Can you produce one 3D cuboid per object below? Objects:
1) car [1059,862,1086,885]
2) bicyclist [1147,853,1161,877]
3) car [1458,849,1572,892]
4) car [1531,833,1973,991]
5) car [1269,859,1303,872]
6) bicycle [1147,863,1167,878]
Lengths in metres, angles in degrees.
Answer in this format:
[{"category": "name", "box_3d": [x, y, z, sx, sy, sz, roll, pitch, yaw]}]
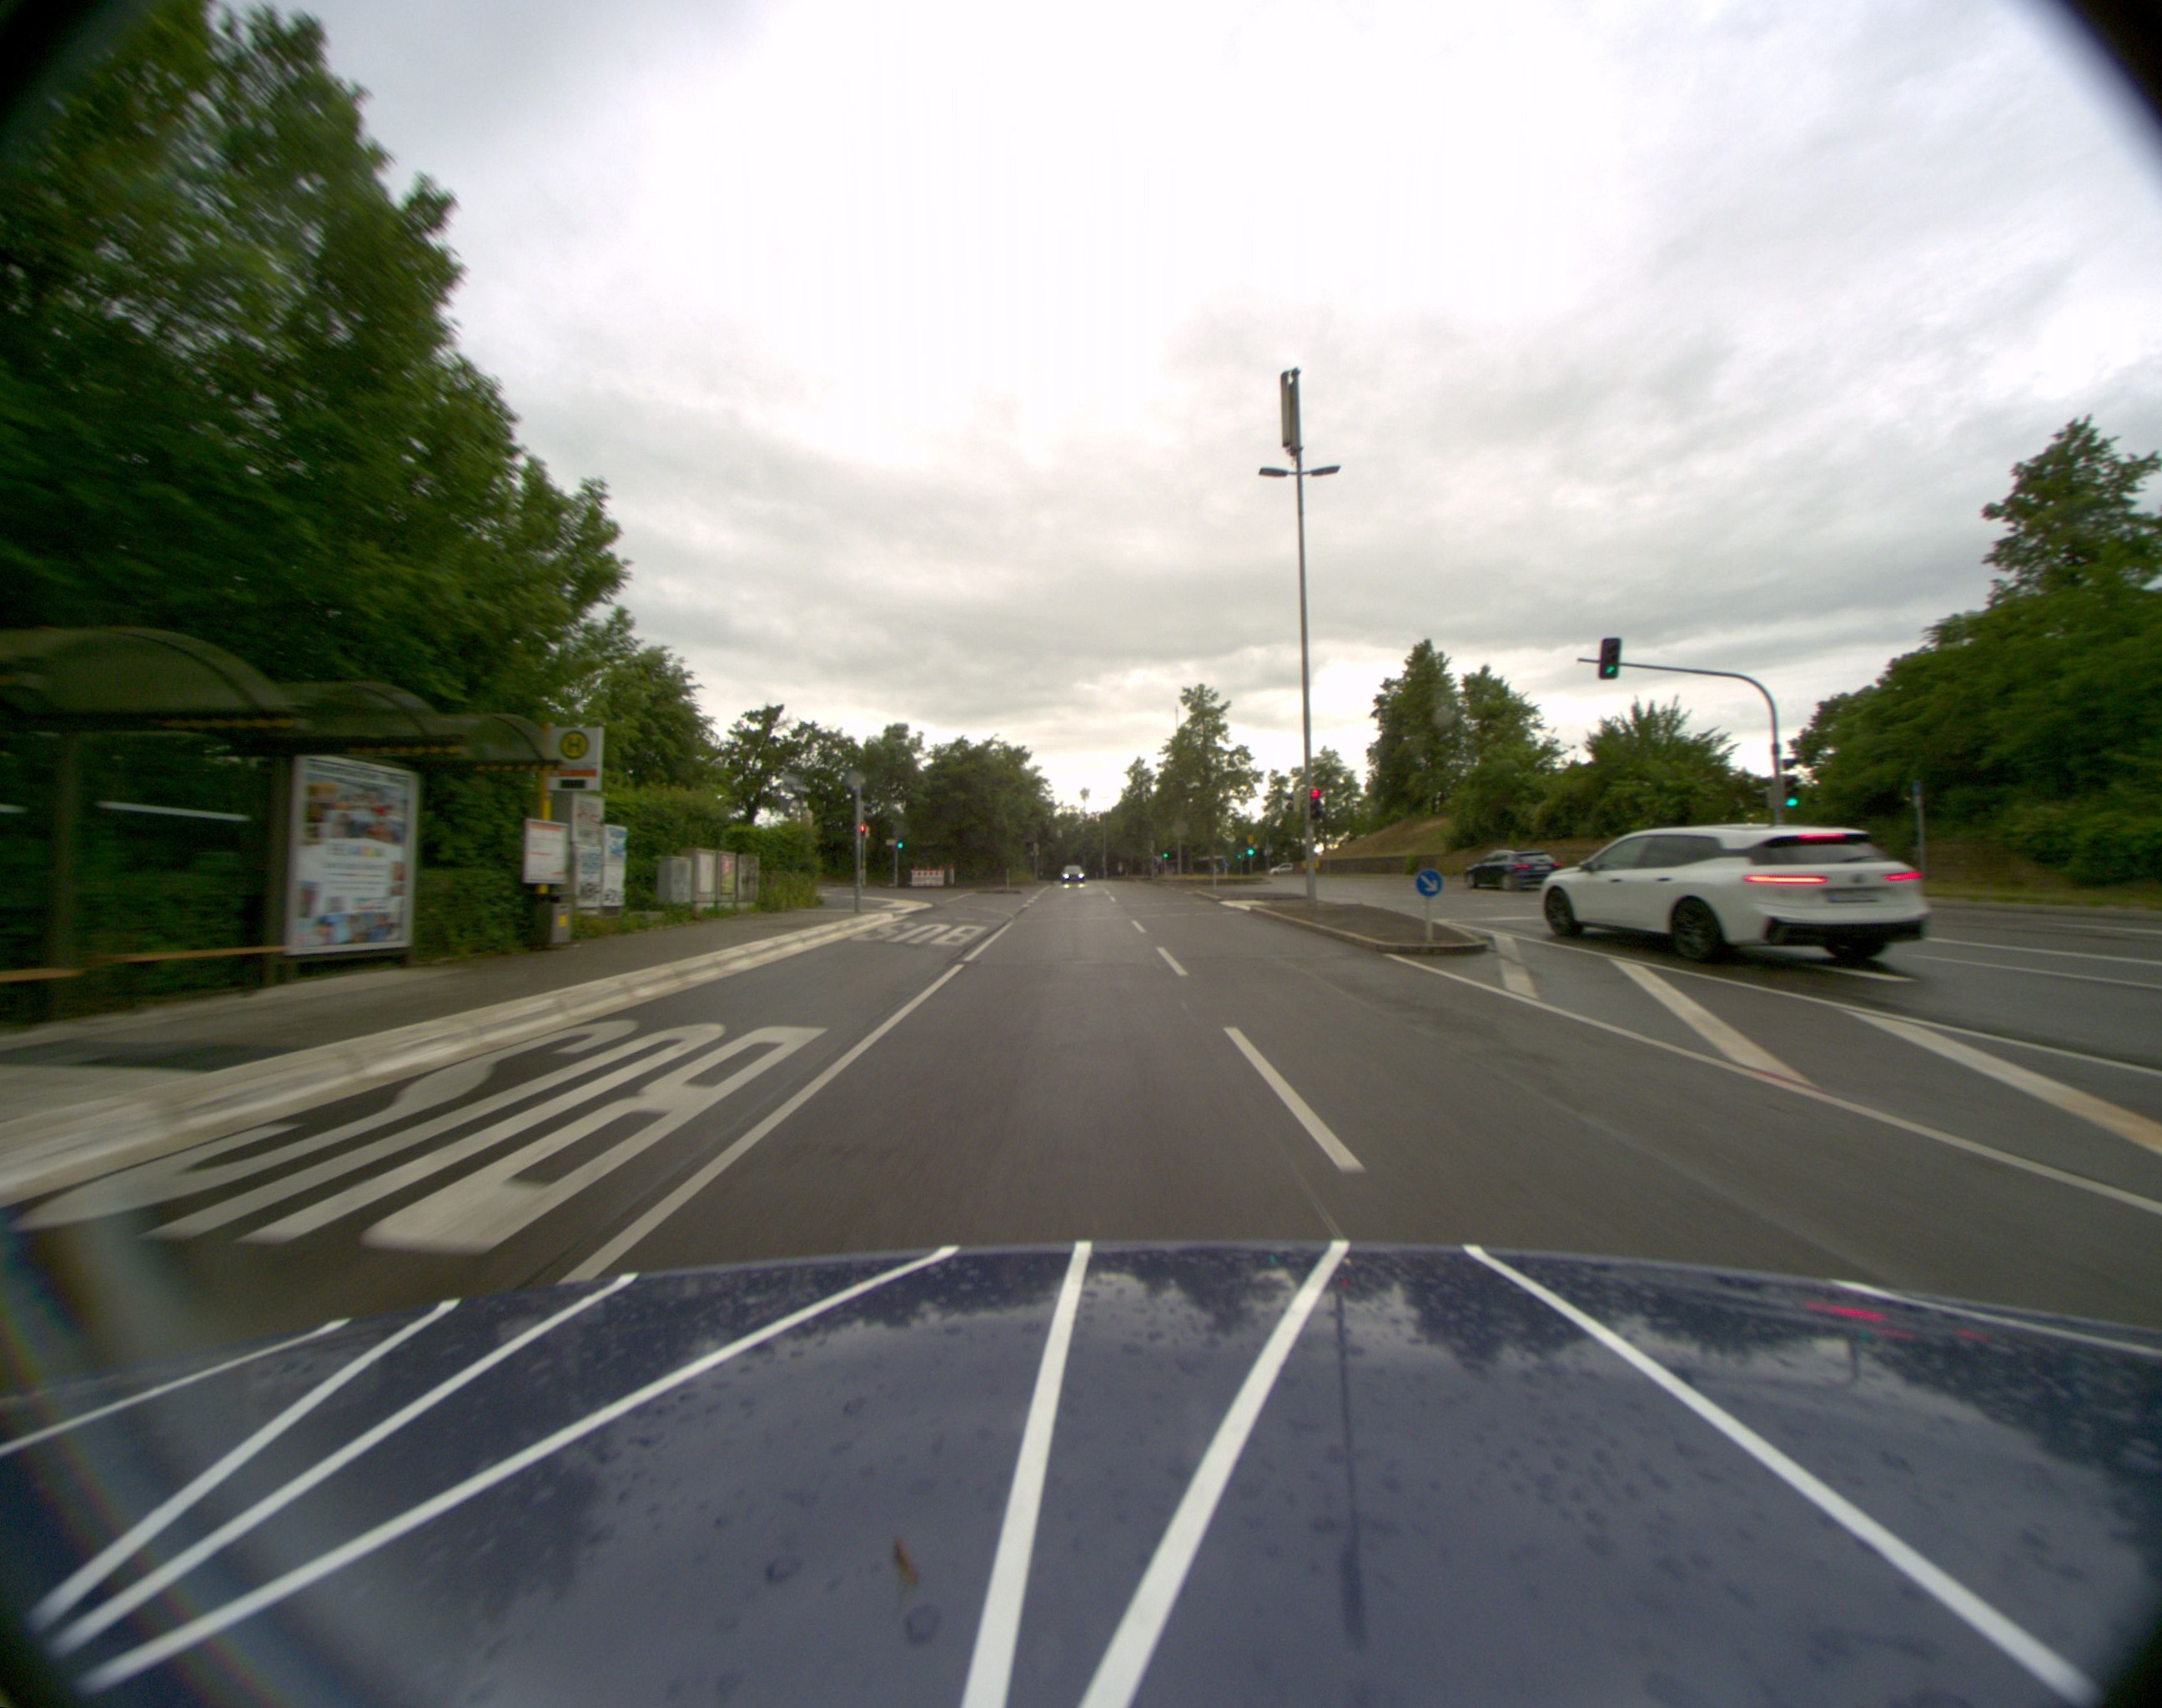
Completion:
[{"category": "car", "box_3d": [-0.643, 1.603, 61.322, 1.998, 1.575, 4.003, 1, -4, 1]}, {"category": "bicyclist", "box_3d": [5.392, 0.803, 56.271, 0.723, 1.742, 0.803, 2, 2, 33]}, {"category": "car", "box_3d": [15.808, 0.557, 27.962, 1.824, 1.429, 4.455, -1, 0, 3]}, {"category": "car", "box_3d": [8.552, 0.615, 10.526, 1.949, 1.626, 5.006, -1, 0, 4]}, {"category": "car", "box_3d": [24.341, 1.379, 90.369, 3.692, 1.469, 1.763, -2, -1, 9]}, {"category": "bicycle", "box_3d": [5.702, 1.226, 56.828, 0.552, 1.136, 2.144, -1, 0, 33]}]
